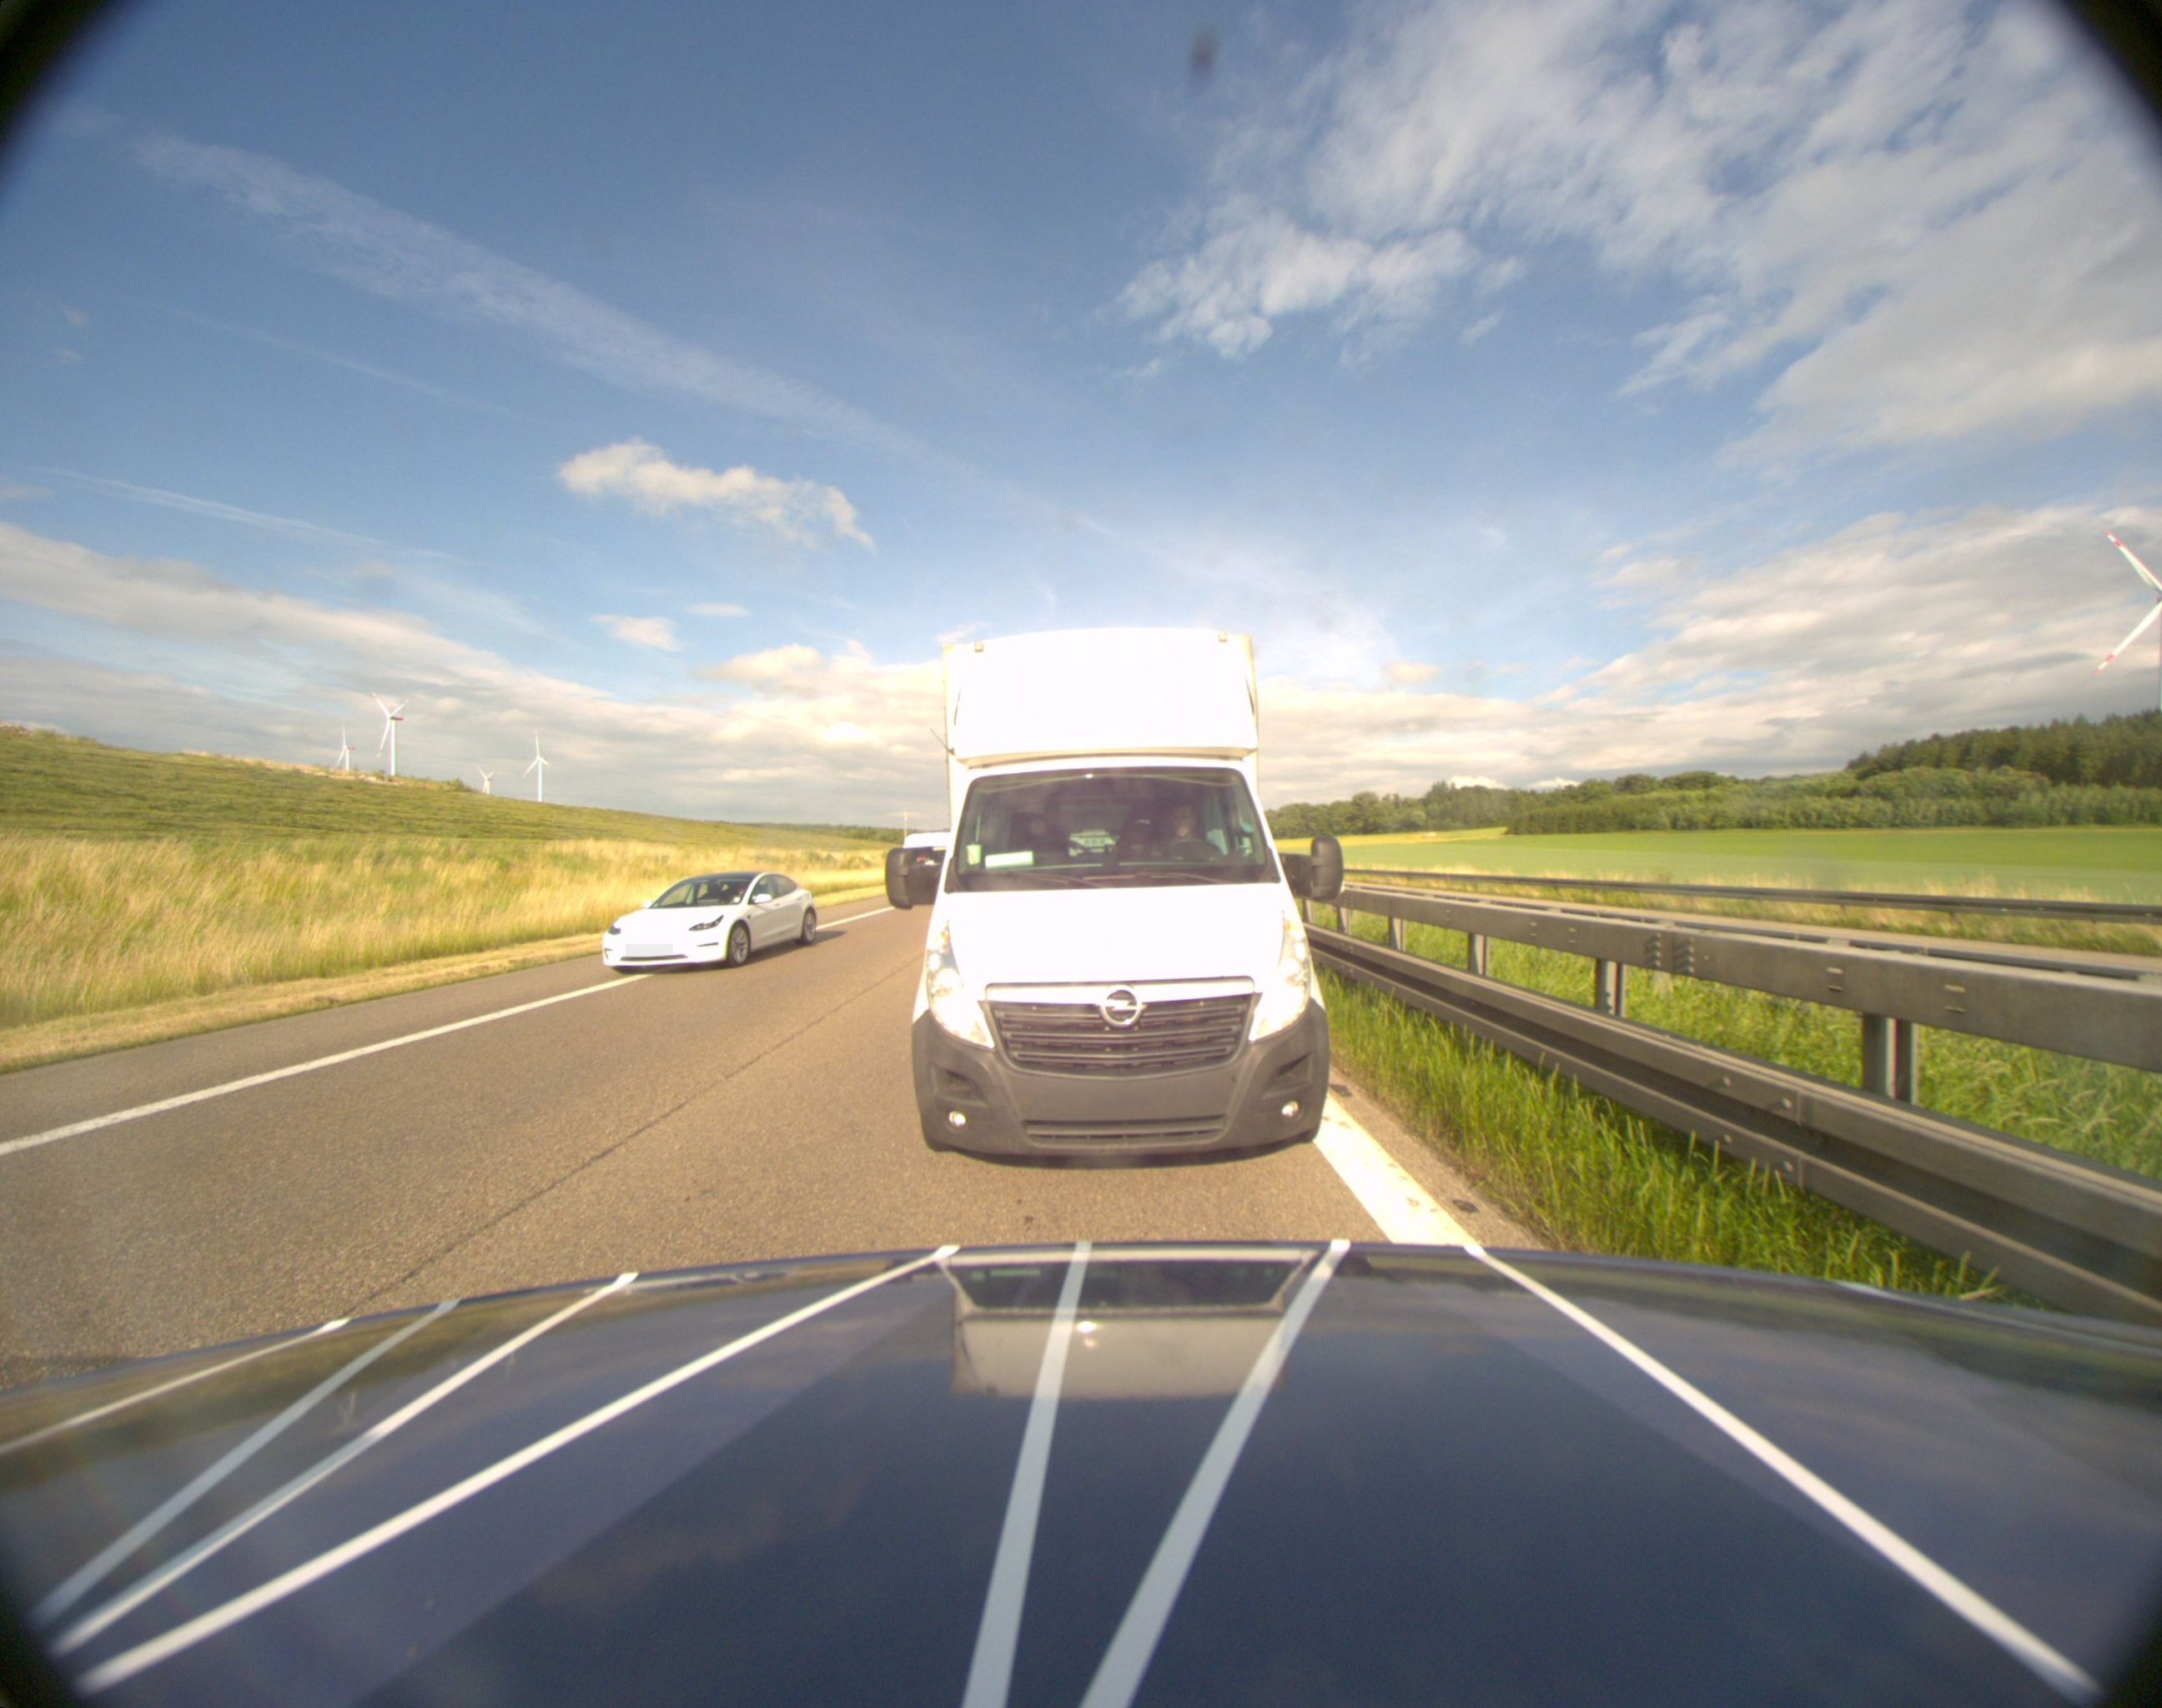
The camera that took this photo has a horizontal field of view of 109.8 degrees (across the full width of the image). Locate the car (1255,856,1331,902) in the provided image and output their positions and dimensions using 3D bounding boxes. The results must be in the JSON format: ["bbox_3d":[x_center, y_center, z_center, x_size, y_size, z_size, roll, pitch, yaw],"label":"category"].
[{"bbox_3d":[7.809,0.875,28.343,1.737,1.476,3.999,-1,1,1],"label":"car"}]

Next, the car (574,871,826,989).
[{"bbox_3d":[-5.967,1.094,12.648,1.871,1.409,4.461,-1,1,1],"label":"car"}]

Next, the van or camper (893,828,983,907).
[{"bbox_3d":[-5.073,0.390,27.985,2.102,2.530,6.411,-1,1,0],"label":"van or camper"}]

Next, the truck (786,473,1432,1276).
[{"bbox_3d":[0.109,0.094,8.611,2.502,3.141,11.162,-1,0,0],"label":"truck"}]

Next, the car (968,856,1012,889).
[{"bbox_3d":[-4.502,0.902,38.180,1.650,1.485,3.999,-1,1,1],"label":"car"}]
